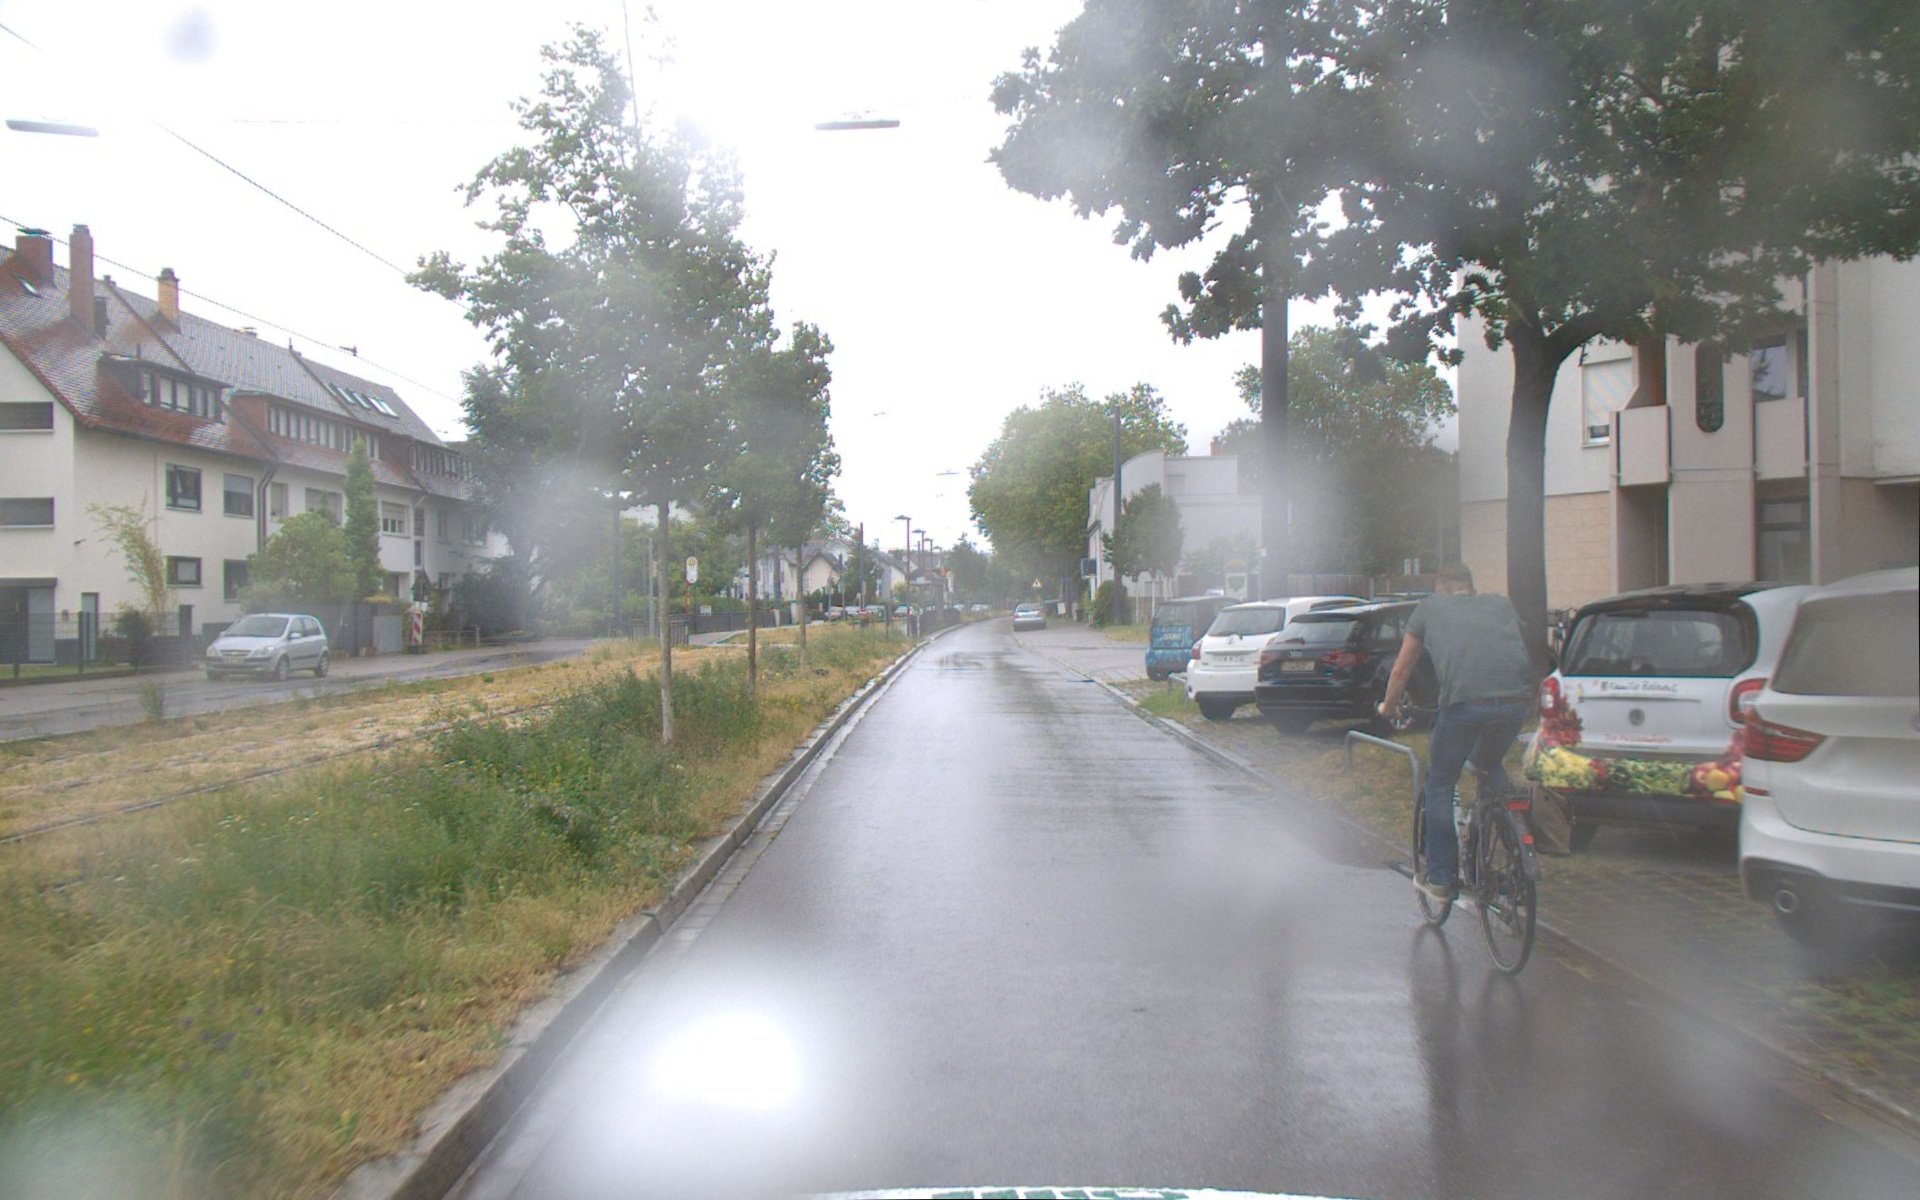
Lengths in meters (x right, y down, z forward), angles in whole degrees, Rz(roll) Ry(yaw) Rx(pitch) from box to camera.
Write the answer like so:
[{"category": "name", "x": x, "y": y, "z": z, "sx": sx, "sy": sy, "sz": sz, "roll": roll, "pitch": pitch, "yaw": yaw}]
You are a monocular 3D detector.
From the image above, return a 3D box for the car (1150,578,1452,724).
[{"category": "car", "x": 4.615, "y": 0.622, "z": 22.099, "sx": 4.148, "sy": 1.574, "sz": 1.739, "roll": -4, "pitch": 1, "yaw": -40}]

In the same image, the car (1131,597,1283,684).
[{"category": "car", "x": 4.719, "y": 0.750, "z": 31.579, "sx": 2.541, "sy": 1.575, "sz": 1.580, "roll": -1, "pitch": -1, "yaw": -40}]

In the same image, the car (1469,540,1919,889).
[{"category": "car", "x": 5.204, "y": 0.543, "z": 10.469, "sx": 4.143, "sy": 1.700, "sz": 1.662, "roll": -4, "pitch": 1, "yaw": -38}]

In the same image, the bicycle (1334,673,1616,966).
[{"category": "bicycle", "x": 2.276, "y": 0.916, "z": 7.572, "sx": 0.526, "sy": 1.112, "sz": 1.946, "roll": 0, "pitch": -1, "yaw": -5}]

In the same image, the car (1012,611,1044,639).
[{"category": "car", "x": 3.795, "y": 1.405, "z": 92.330, "sx": 1.616, "sy": 1.430, "sz": 4.650, "roll": -4, "pitch": -1, "yaw": 2}]

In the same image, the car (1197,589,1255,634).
[{"category": "car", "x": 11.275, "y": 0.460, "z": 70.288, "sx": 1.922, "sy": 1.815, "sz": 4.899, "roll": 0, "pitch": 0, "yaw": 3}]

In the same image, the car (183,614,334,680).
[{"category": "car", "x": -16.013, "y": 1.067, "z": 37.938, "sx": 1.953, "sy": 1.438, "sz": 3.657, "roll": 0, "pitch": -1, "yaw": -2}]

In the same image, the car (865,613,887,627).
[{"category": "car", "x": -9.363, "y": 2.203, "z": 185.166, "sx": 1.887, "sy": 1.512, "sz": 4.002, "roll": 0, "pitch": -1, "yaw": 5}]

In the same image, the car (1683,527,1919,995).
[{"category": "car", "x": 5.209, "y": 0.477, "z": 7.436, "sx": 4.420, "sy": 1.700, "sz": 1.786, "roll": -4, "pitch": 1, "yaw": -40}]

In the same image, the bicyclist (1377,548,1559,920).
[{"category": "bicyclist", "x": 2.274, "y": 0.578, "z": 7.470, "sx": 0.524, "sy": 1.587, "sz": 0.771, "roll": 0, "pitch": -1, "yaw": -6}]

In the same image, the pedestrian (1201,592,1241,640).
[{"category": "pedestrian", "x": 8.432, "y": 0.515, "z": 53.438, "sx": 0.826, "sy": 1.544, "sz": 1.084, "roll": 1, "pitch": -1, "yaw": -29}]

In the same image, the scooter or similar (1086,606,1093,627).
[{"category": "scooter or similar", "x": 7.088, "y": 0.896, "z": 90.284, "sx": 0.326, "sy": 1.104, "sz": 1.396, "roll": 0, "pitch": -1, "yaw": 7}]

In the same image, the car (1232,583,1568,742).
[{"category": "car", "x": 5.105, "y": 0.652, "z": 18.994, "sx": 3.904, "sy": 1.456, "sz": 1.662, "roll": -4, "pitch": 1, "yaw": -38}]
